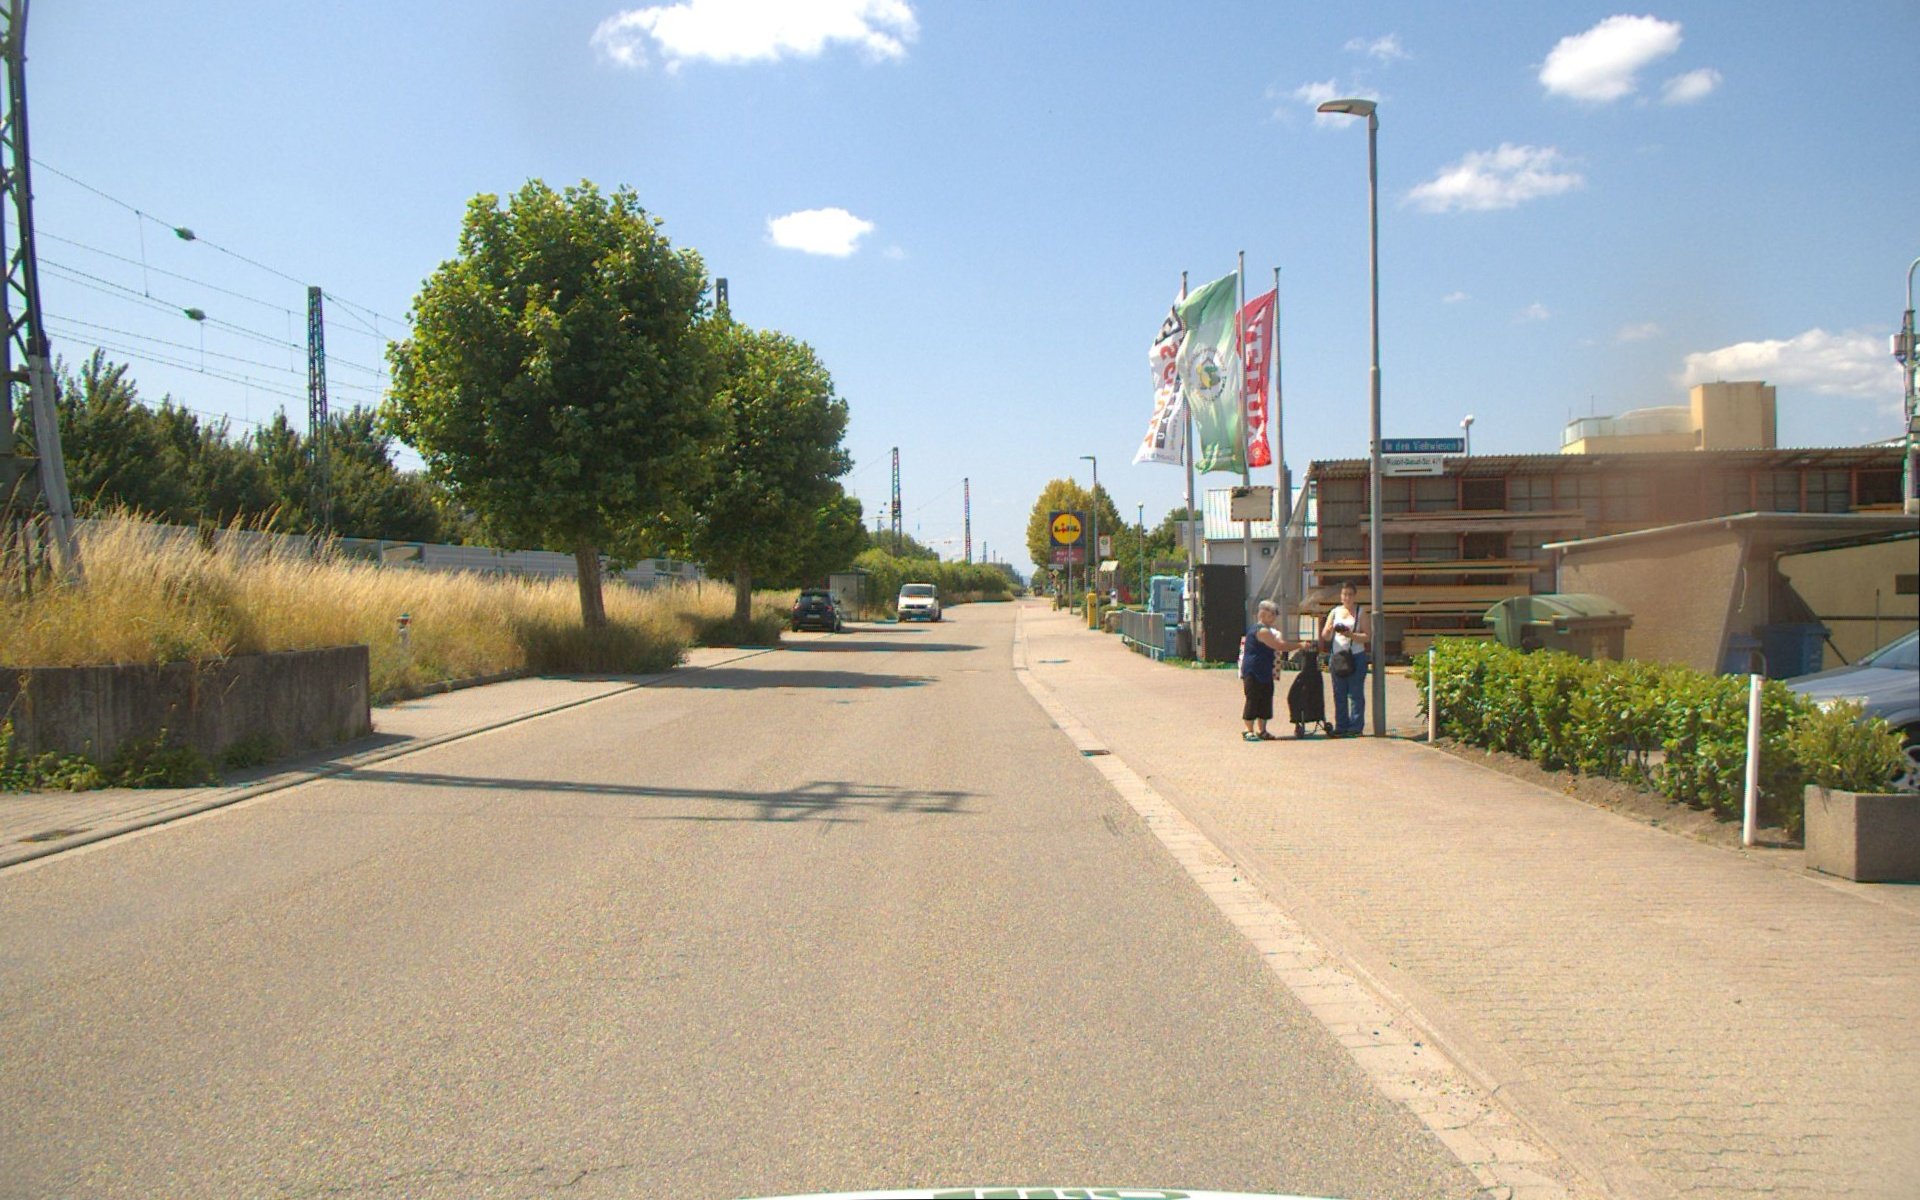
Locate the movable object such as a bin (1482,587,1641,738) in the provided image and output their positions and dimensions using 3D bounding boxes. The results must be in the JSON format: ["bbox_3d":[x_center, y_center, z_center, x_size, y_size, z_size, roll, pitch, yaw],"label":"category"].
[{"bbox_3d":[6.206,0.613,17.074,1.254,1.484,1.035,1,0,-38],"label":"movable object such as a bin"}]

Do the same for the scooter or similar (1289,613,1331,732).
[{"bbox_3d":[3.656,0.758,17.293,0.327,1.219,0.397,-2,-2,0],"label":"scooter or similar"}]

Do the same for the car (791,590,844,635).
[{"bbox_3d":[-5.394,0.445,62.955,1.706,1.624,3.579,0,0,0],"label":"car"}]

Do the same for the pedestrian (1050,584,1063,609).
[{"bbox_3d":[6.302,-0.219,107.742,0.746,1.630,1.210,-1,0,-1],"label":"pedestrian"}]

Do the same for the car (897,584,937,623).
[{"bbox_3d":[-2.108,0.154,82.185,1.800,1.890,4.484,0,0,1],"label":"car"}]

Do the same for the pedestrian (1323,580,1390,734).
[{"bbox_3d":[4.133,0.596,17.246,0.524,1.567,0.510,-1,-2,-1],"label":"pedestrian"}]

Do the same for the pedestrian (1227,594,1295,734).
[{"bbox_3d":[3.154,0.669,17.381,0.554,1.430,0.584,-2,-2,-1],"label":"pedestrian"}]

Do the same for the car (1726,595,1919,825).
[{"bbox_3d":[7.660,0.702,11.582,3.766,1.481,1.817,0,0,1],"label":"car"}]
